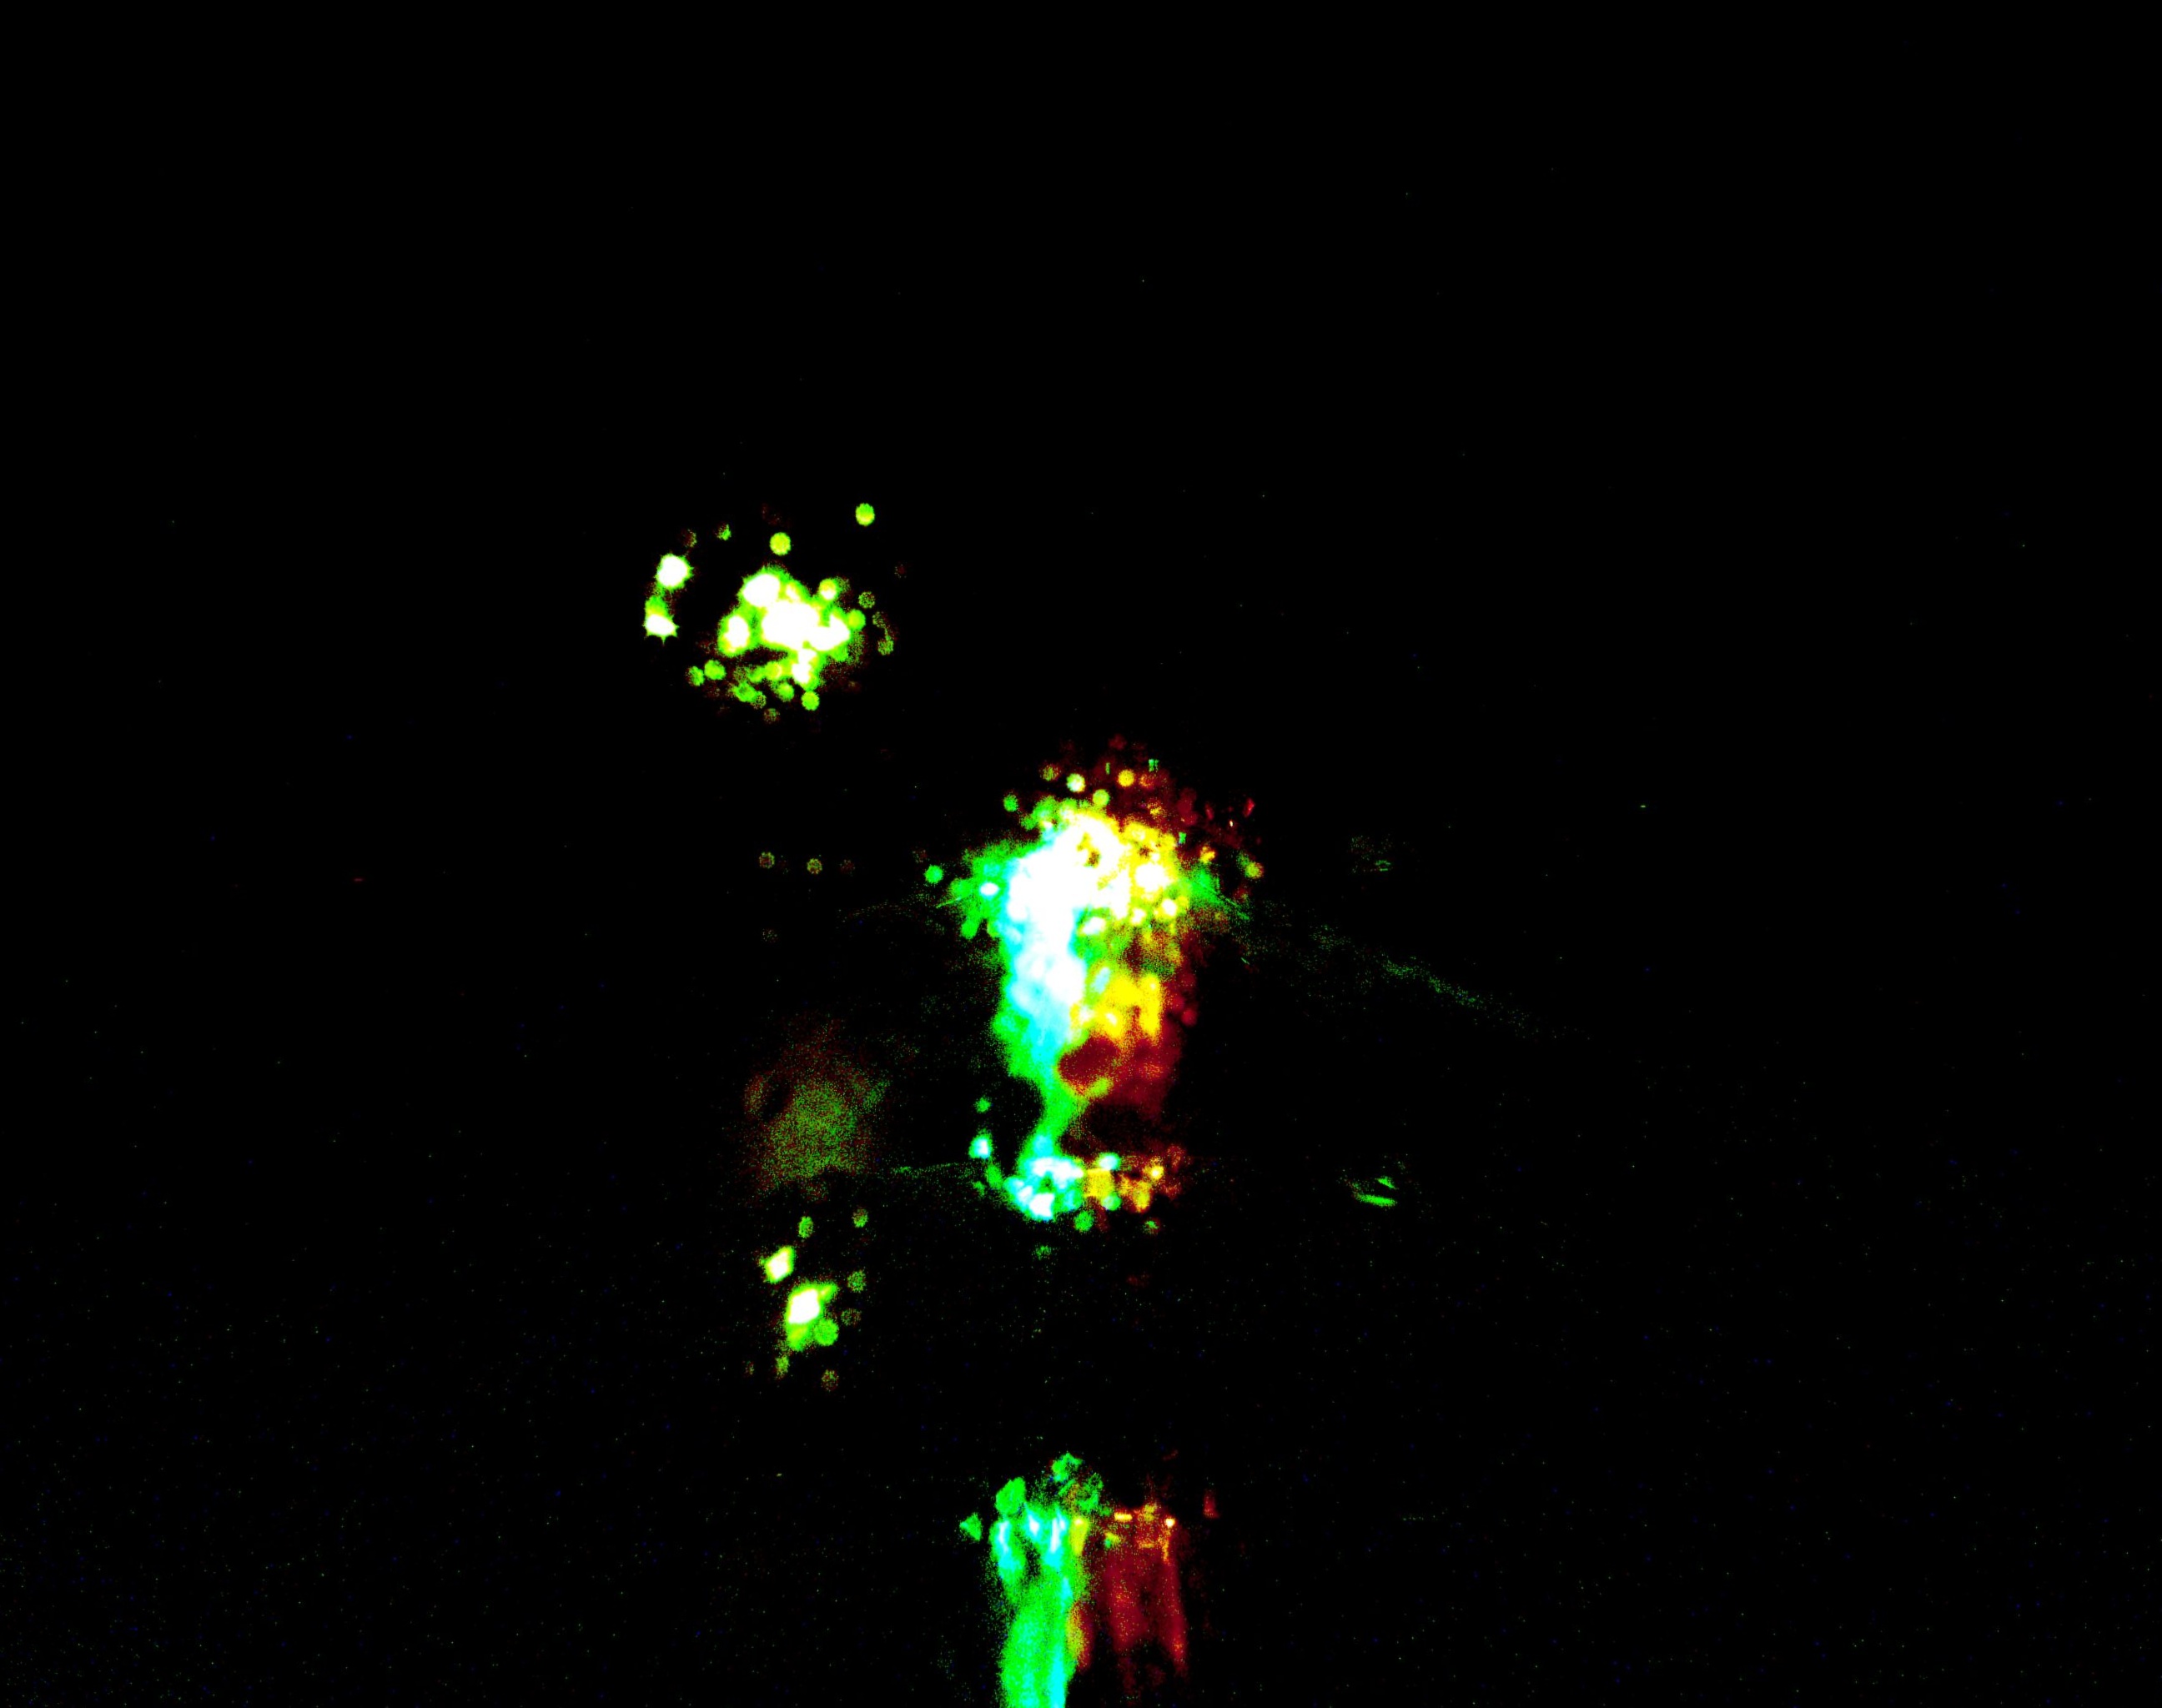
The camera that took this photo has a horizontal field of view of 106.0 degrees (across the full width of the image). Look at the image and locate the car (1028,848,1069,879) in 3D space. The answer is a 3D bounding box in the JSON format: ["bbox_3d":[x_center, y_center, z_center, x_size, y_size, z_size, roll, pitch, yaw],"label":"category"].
[{"bbox_3d":[-1.821,0.558,47.568,1.866,1.545,4.358,-5,-1,3],"label":"car"}]

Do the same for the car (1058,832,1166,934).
[{"bbox_3d":[0.666,0.471,16.083,1.783,1.681,3.908,-3,1,3],"label":"car"}]
